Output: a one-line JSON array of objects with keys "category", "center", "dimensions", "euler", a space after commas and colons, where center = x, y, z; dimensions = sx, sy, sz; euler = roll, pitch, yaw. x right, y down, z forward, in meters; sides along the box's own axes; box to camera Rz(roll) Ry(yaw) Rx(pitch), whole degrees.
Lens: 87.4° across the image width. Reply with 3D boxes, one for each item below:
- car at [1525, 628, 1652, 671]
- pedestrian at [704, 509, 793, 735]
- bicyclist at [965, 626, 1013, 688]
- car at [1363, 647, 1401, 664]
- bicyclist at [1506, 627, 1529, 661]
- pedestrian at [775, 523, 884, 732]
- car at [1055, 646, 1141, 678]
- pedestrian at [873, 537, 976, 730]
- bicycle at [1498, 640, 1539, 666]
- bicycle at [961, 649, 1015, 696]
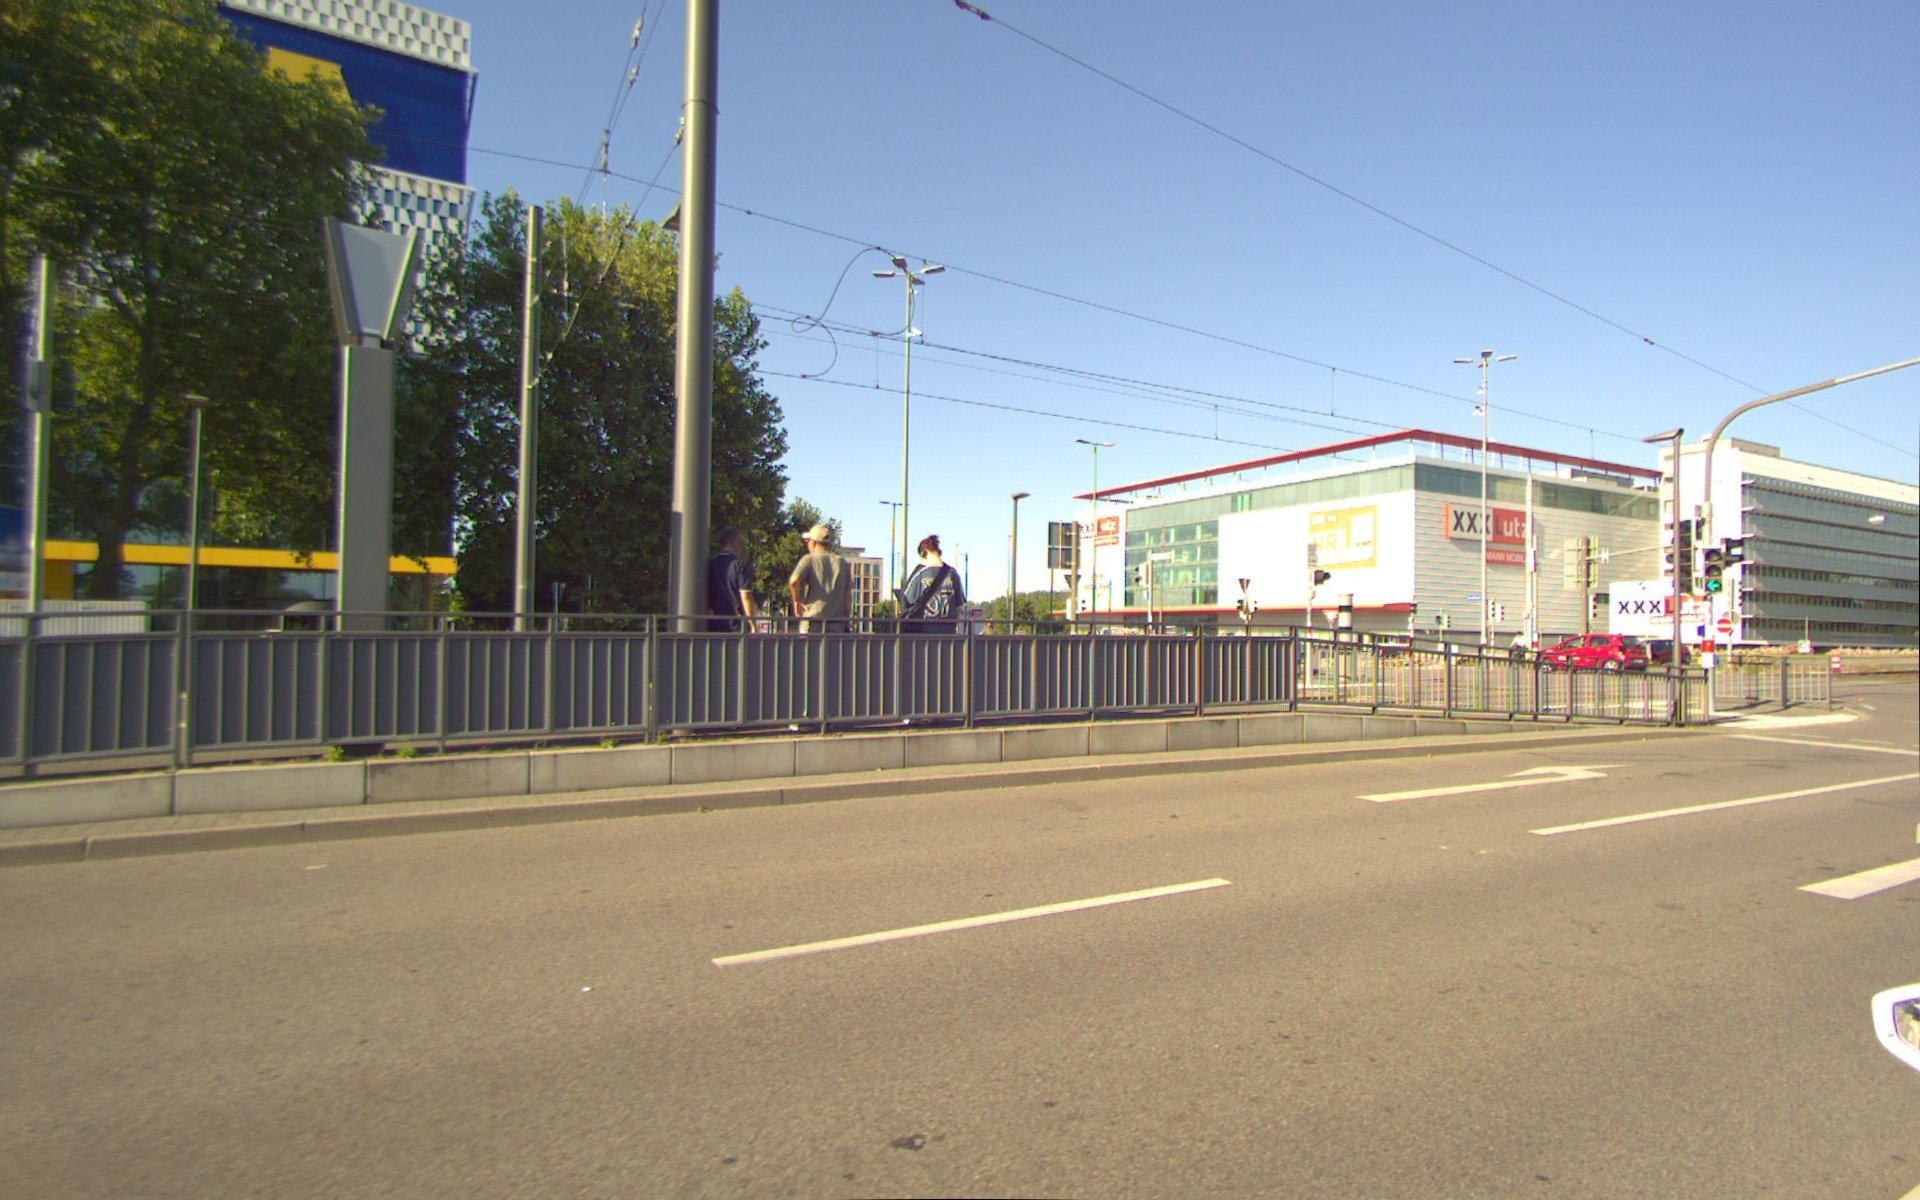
[{"category": "car", "center": [23.178, 1.881, 37.162], "dimensions": [1.751, 1.478, 3.557], "euler": [2, -5, -31]}, {"category": "pedestrian", "center": [-1.776, 0.174, 8.398], "dimensions": [0.528, 1.799, 0.704], "euler": [2, 1, -25]}, {"category": "bicyclist", "center": [0.784, 1.571, 27.738], "dimensions": [0.810, 1.638, 1.480], "euler": [2, -3, -20]}, {"category": "car", "center": [49.505, 6.508, 117.754], "dimensions": [4.398, 1.725, 1.910], "euler": [1, 1, -32]}, {"category": "bicyclist", "center": [26.094, 2.054, 46.976], "dimensions": [0.741, 1.543, 0.586], "euler": [1, 1, -24]}, {"category": "pedestrian", "center": [-1.127, 0.232, 8.649], "dimensions": [0.751, 1.716, 0.531], "euler": [2, 1, -28]}, {"category": "car", "center": [6.802, 3.112, 49.816], "dimensions": [1.994, 1.517, 4.222], "euler": [2, -5, -32]}, {"category": "pedestrian", "center": [-0.329, 0.294, 9.137], "dimensions": [0.741, 1.679, 0.531], "euler": [1, 0, -28]}, {"category": "bicycle", "center": [26.134, 2.469, 47.004], "dimensions": [1.964, 1.183, 0.586], "euler": [1, 1, -24]}, {"category": "bicycle", "center": [0.760, 1.981, 27.757], "dimensions": [0.704, 1.234, 2.269], "euler": [2, -3, -20]}]
